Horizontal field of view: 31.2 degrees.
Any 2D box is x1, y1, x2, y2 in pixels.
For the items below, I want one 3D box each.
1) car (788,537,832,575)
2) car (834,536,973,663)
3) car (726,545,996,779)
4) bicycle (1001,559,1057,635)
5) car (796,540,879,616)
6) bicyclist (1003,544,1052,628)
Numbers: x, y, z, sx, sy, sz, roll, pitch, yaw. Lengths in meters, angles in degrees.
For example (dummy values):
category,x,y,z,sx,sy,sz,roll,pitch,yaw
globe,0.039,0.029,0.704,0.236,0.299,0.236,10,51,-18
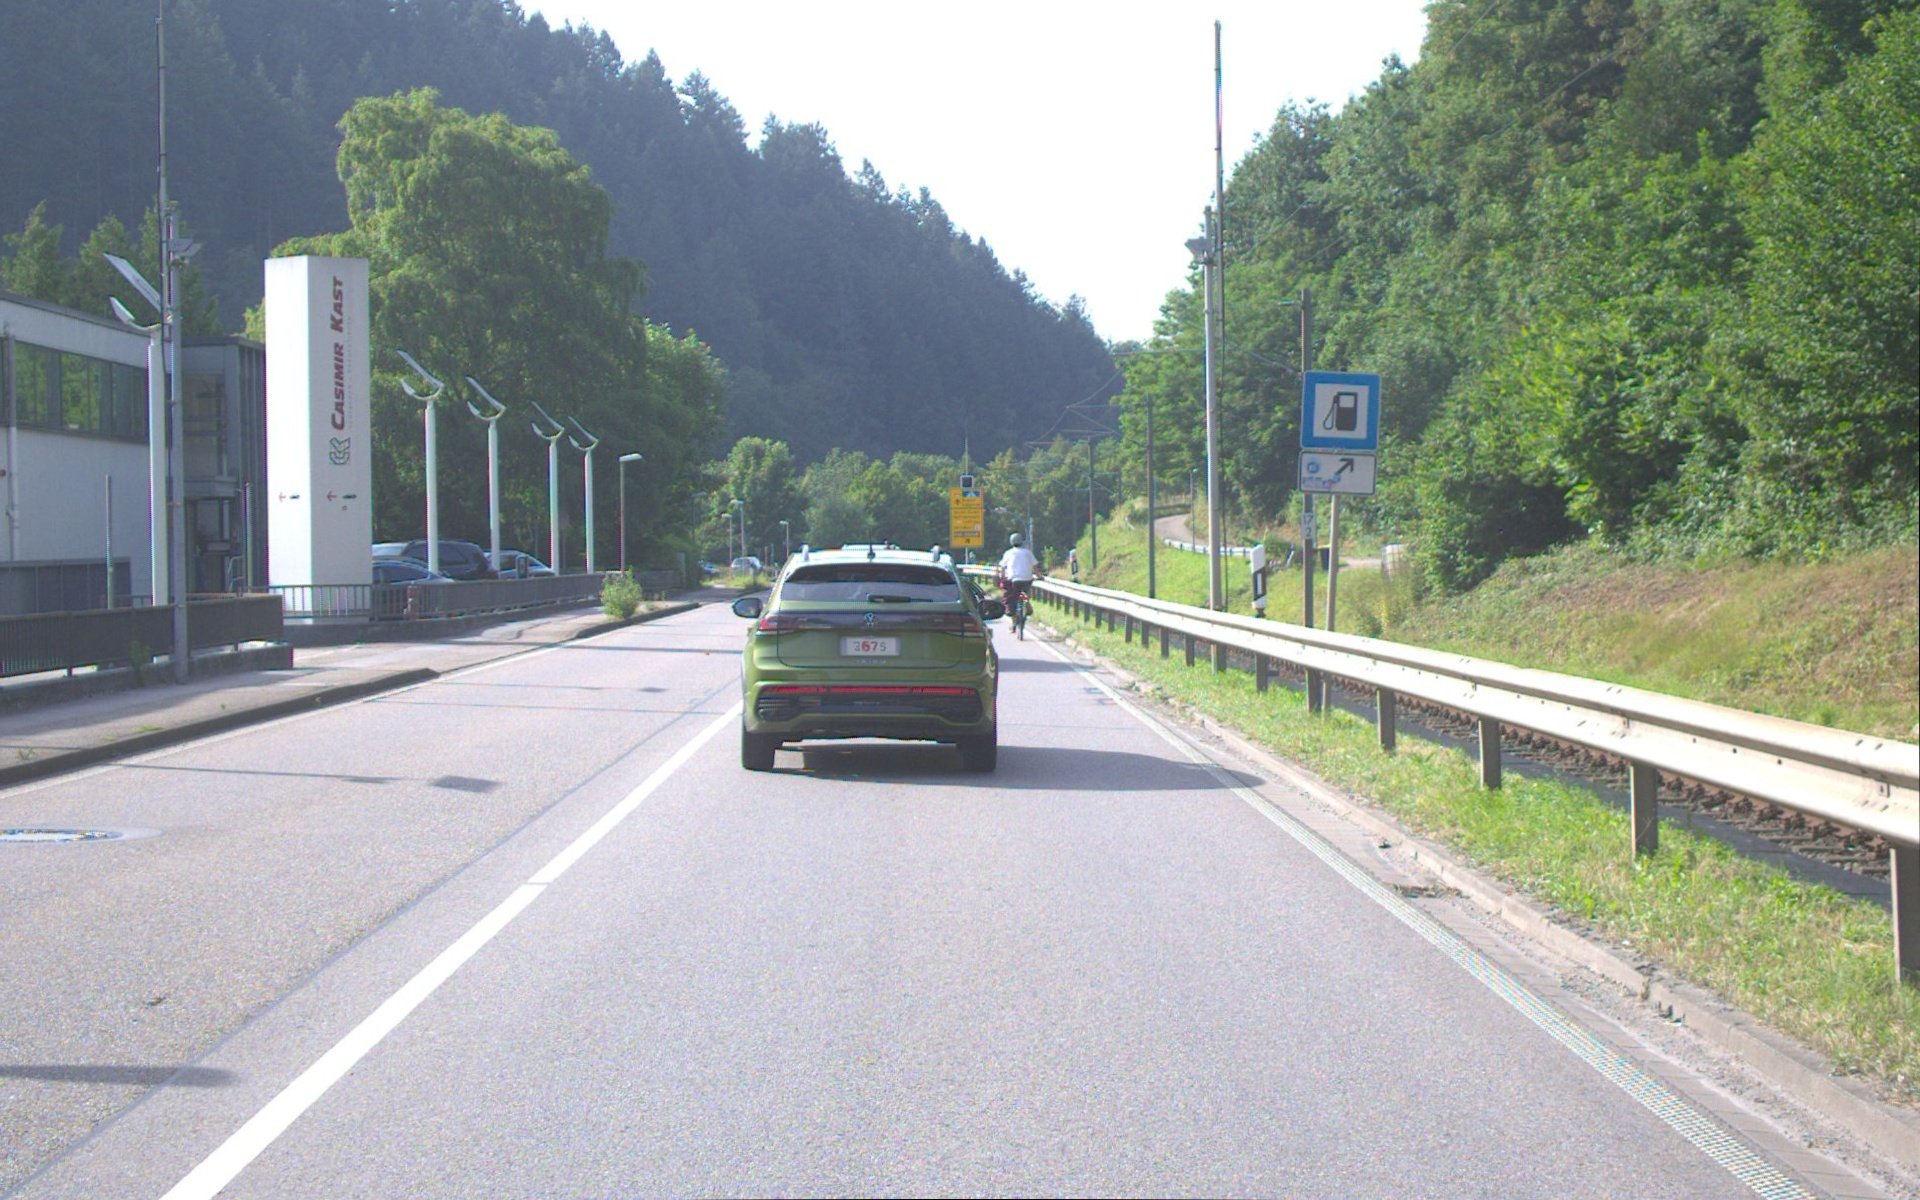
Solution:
category,x,y,z,sx,sy,sz,roll,pitch,yaw
car,-6.197,-1.835,142.556,1.677,1.480,4.246,2,1,-1
car,-0.768,-0.037,45.382,1.739,1.596,4.000,0,1,-2
car,-0.693,0.369,24.158,1.739,1.503,4.000,0,1,-2
bicycle,1.153,-0.058,57.903,0.811,1.246,2.123,0,1,-3
car,-2.630,-0.491,74.295,1.739,1.596,4.000,0,1,-2
bicyclist,1.134,-0.245,57.996,0.781,1.407,0.675,0,1,-3
